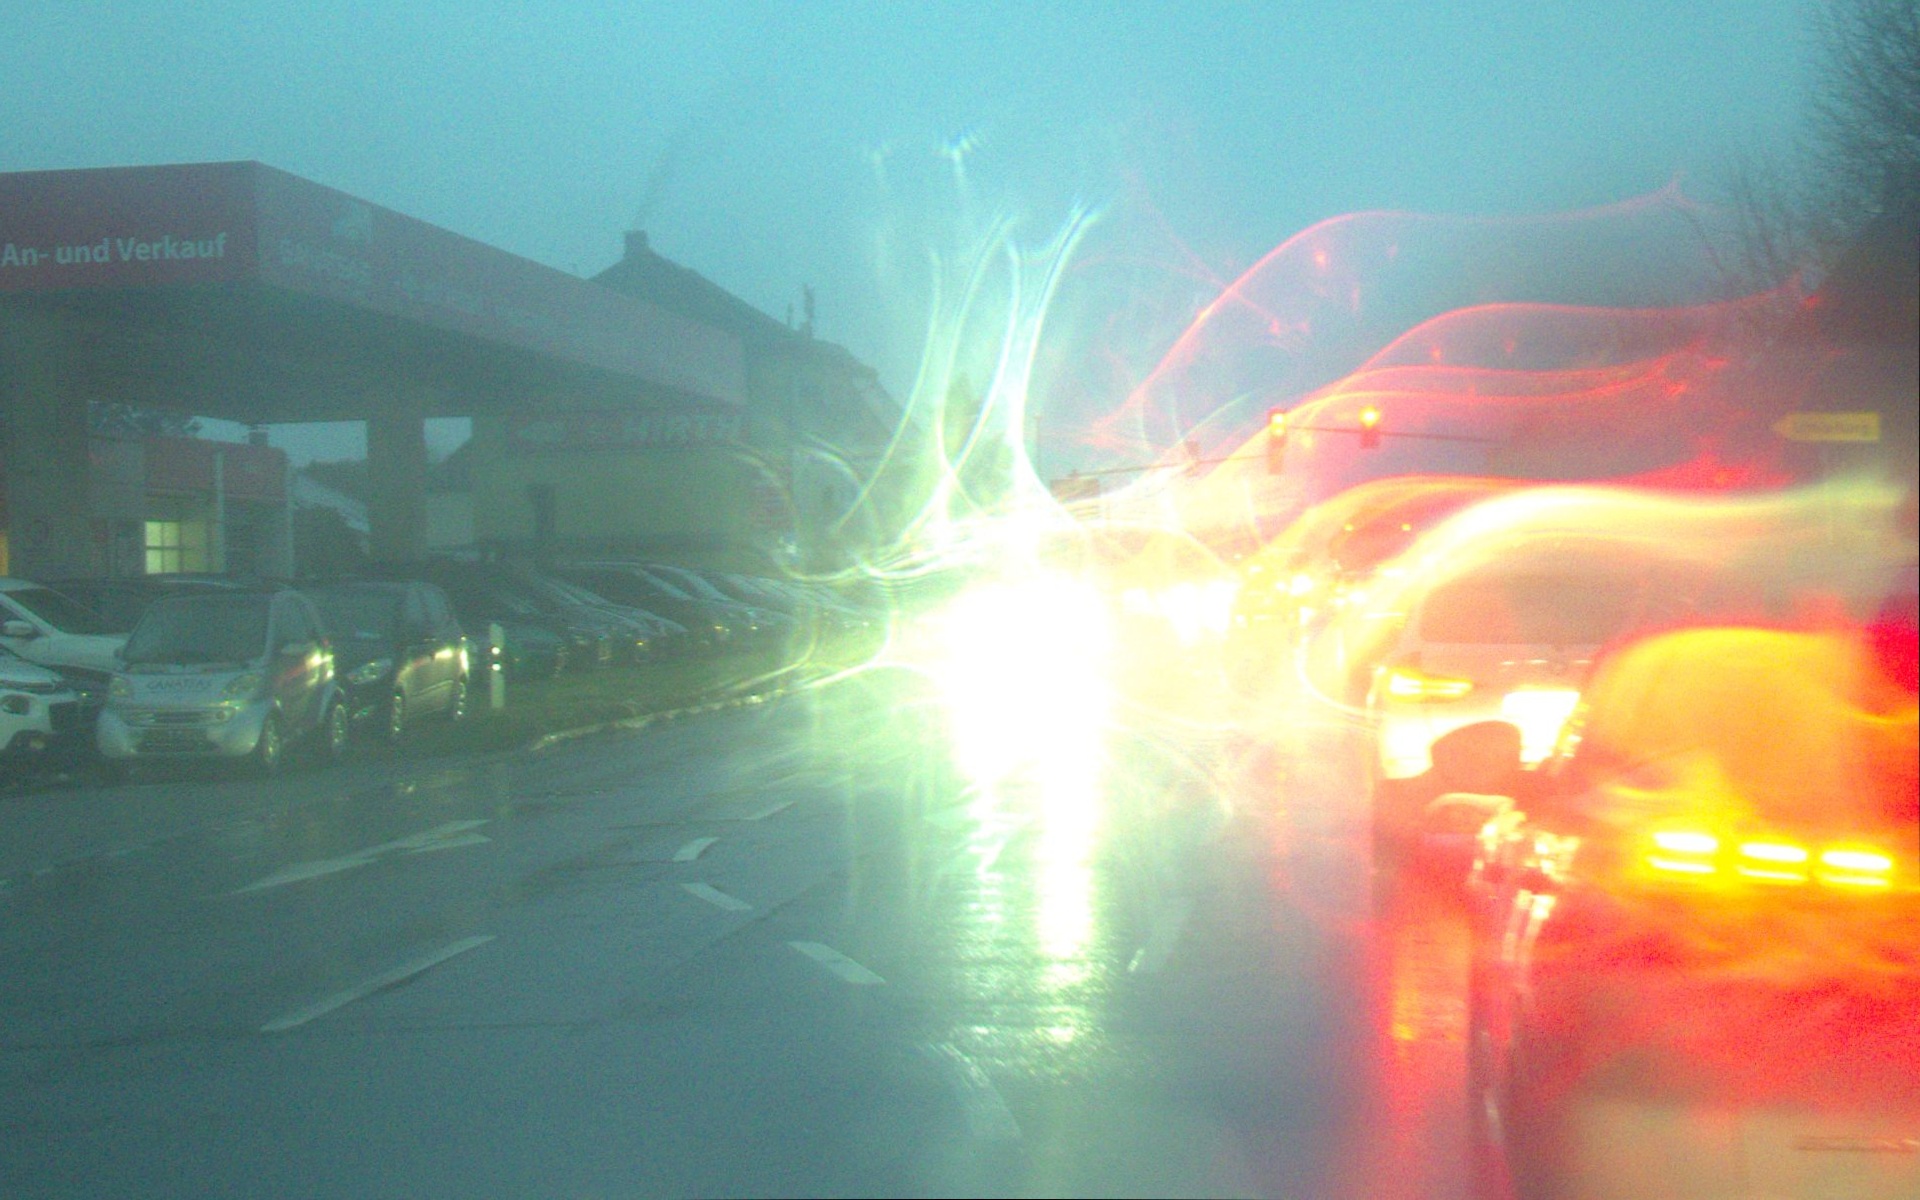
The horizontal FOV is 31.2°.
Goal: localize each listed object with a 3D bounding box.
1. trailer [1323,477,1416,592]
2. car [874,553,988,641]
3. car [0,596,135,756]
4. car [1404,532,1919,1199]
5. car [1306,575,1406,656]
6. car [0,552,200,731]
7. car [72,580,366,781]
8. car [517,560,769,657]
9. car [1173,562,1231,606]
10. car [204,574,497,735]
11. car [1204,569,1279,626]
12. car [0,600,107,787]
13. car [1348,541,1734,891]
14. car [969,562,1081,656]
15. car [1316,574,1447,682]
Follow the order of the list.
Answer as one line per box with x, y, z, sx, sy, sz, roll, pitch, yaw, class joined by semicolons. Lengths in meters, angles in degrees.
12.145;-1.874;102.493;2.488;3.230;10.866;0;0;6;trailer
-0.606;-0.096;76.692;1.971;1.824;4.511;-2;0;6;car
-9.480;0.641;30.418;3.859;1.341;1.839;0;1;6;car
1.634;0.653;6.256;1.565;1.524;4.005;-1;1;7;car
6.899;0.239;59.963;1.653;1.331;4.271;-1;0;6;car
-9.650;0.405;33.226;4.048;1.644;1.941;-1;0;8;car
-6.216;0.640;29.129;1.518;1.538;3.014;-2;1;6;car
-5.842;0.145;63.629;4.278;1.657;2.000;2;1;7;car
10.197;-0.663;144.629;1.994;1.740;3.998;-2;0;9;car
-5.805;0.486;33.161;1.683;1.416;3.739;-1;1;8;car
8.270;-0.089;101.403;2.047;1.567;4.702;-2;0;3;car
-9.142;0.733;28.267;3.772;1.454;1.776;0;1;4;car
2.894;0.504;17.881;1.708;1.570;4.463;-1;1;7;car
1.181;0.134;60.841;1.603;1.529;3.999;-3;0;5;car
5.612;0.343;45.974;1.641;1.362;4.768;-1;0;7;car
